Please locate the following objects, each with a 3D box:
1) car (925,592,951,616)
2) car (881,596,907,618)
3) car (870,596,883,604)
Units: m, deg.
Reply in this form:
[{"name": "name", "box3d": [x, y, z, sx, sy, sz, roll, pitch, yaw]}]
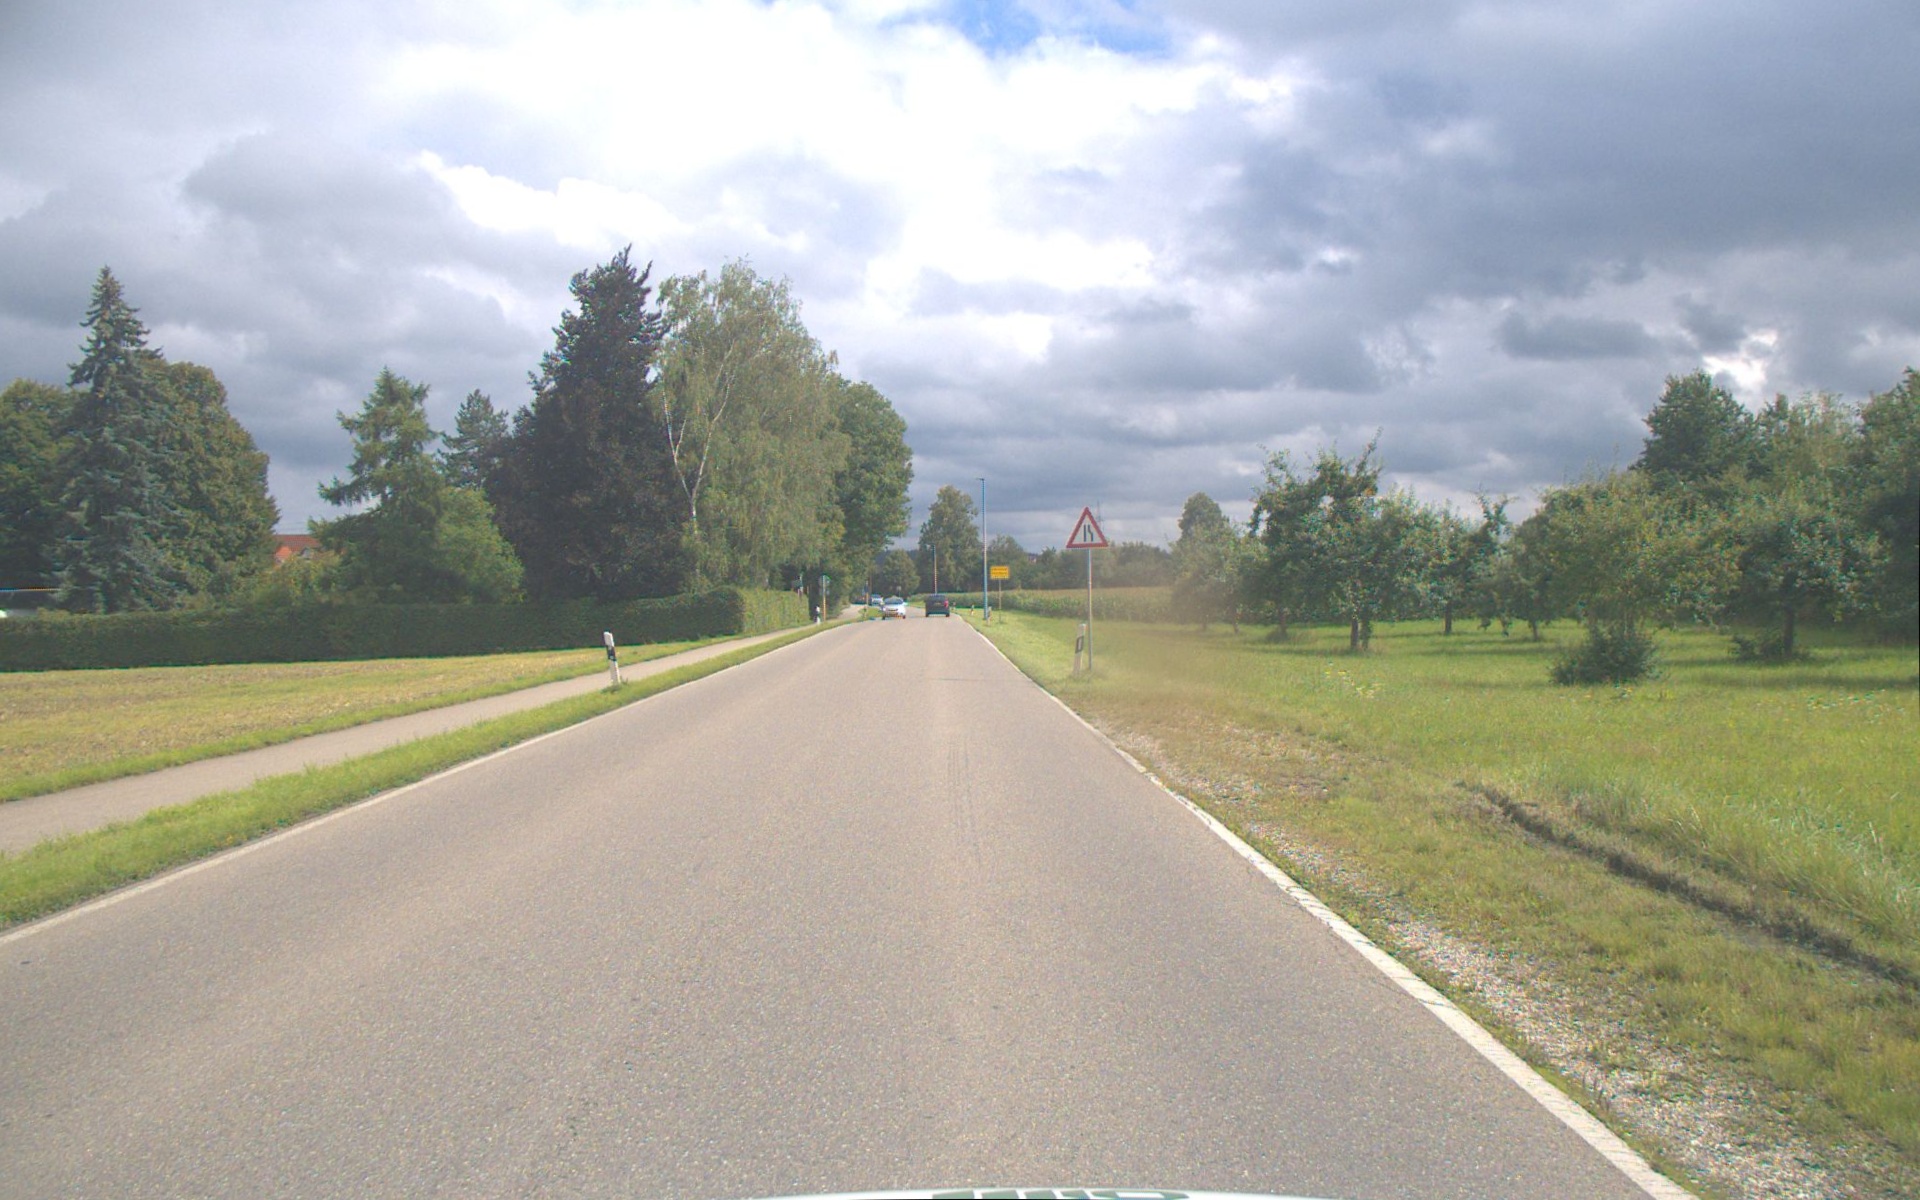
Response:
[{"name": "car", "box3d": [-1.669, 0.309, 125.558, 1.868, 1.695, 3.999, -2, 0, -1]}, {"name": "car", "box3d": [-4.623, 0.507, 116.380, 1.660, 1.484, 3.542, -1, 0, -1]}, {"name": "car", "box3d": [-12.686, -0.001, 250.939, 1.710, 1.243, 3.542, -2, 0, -1]}]
